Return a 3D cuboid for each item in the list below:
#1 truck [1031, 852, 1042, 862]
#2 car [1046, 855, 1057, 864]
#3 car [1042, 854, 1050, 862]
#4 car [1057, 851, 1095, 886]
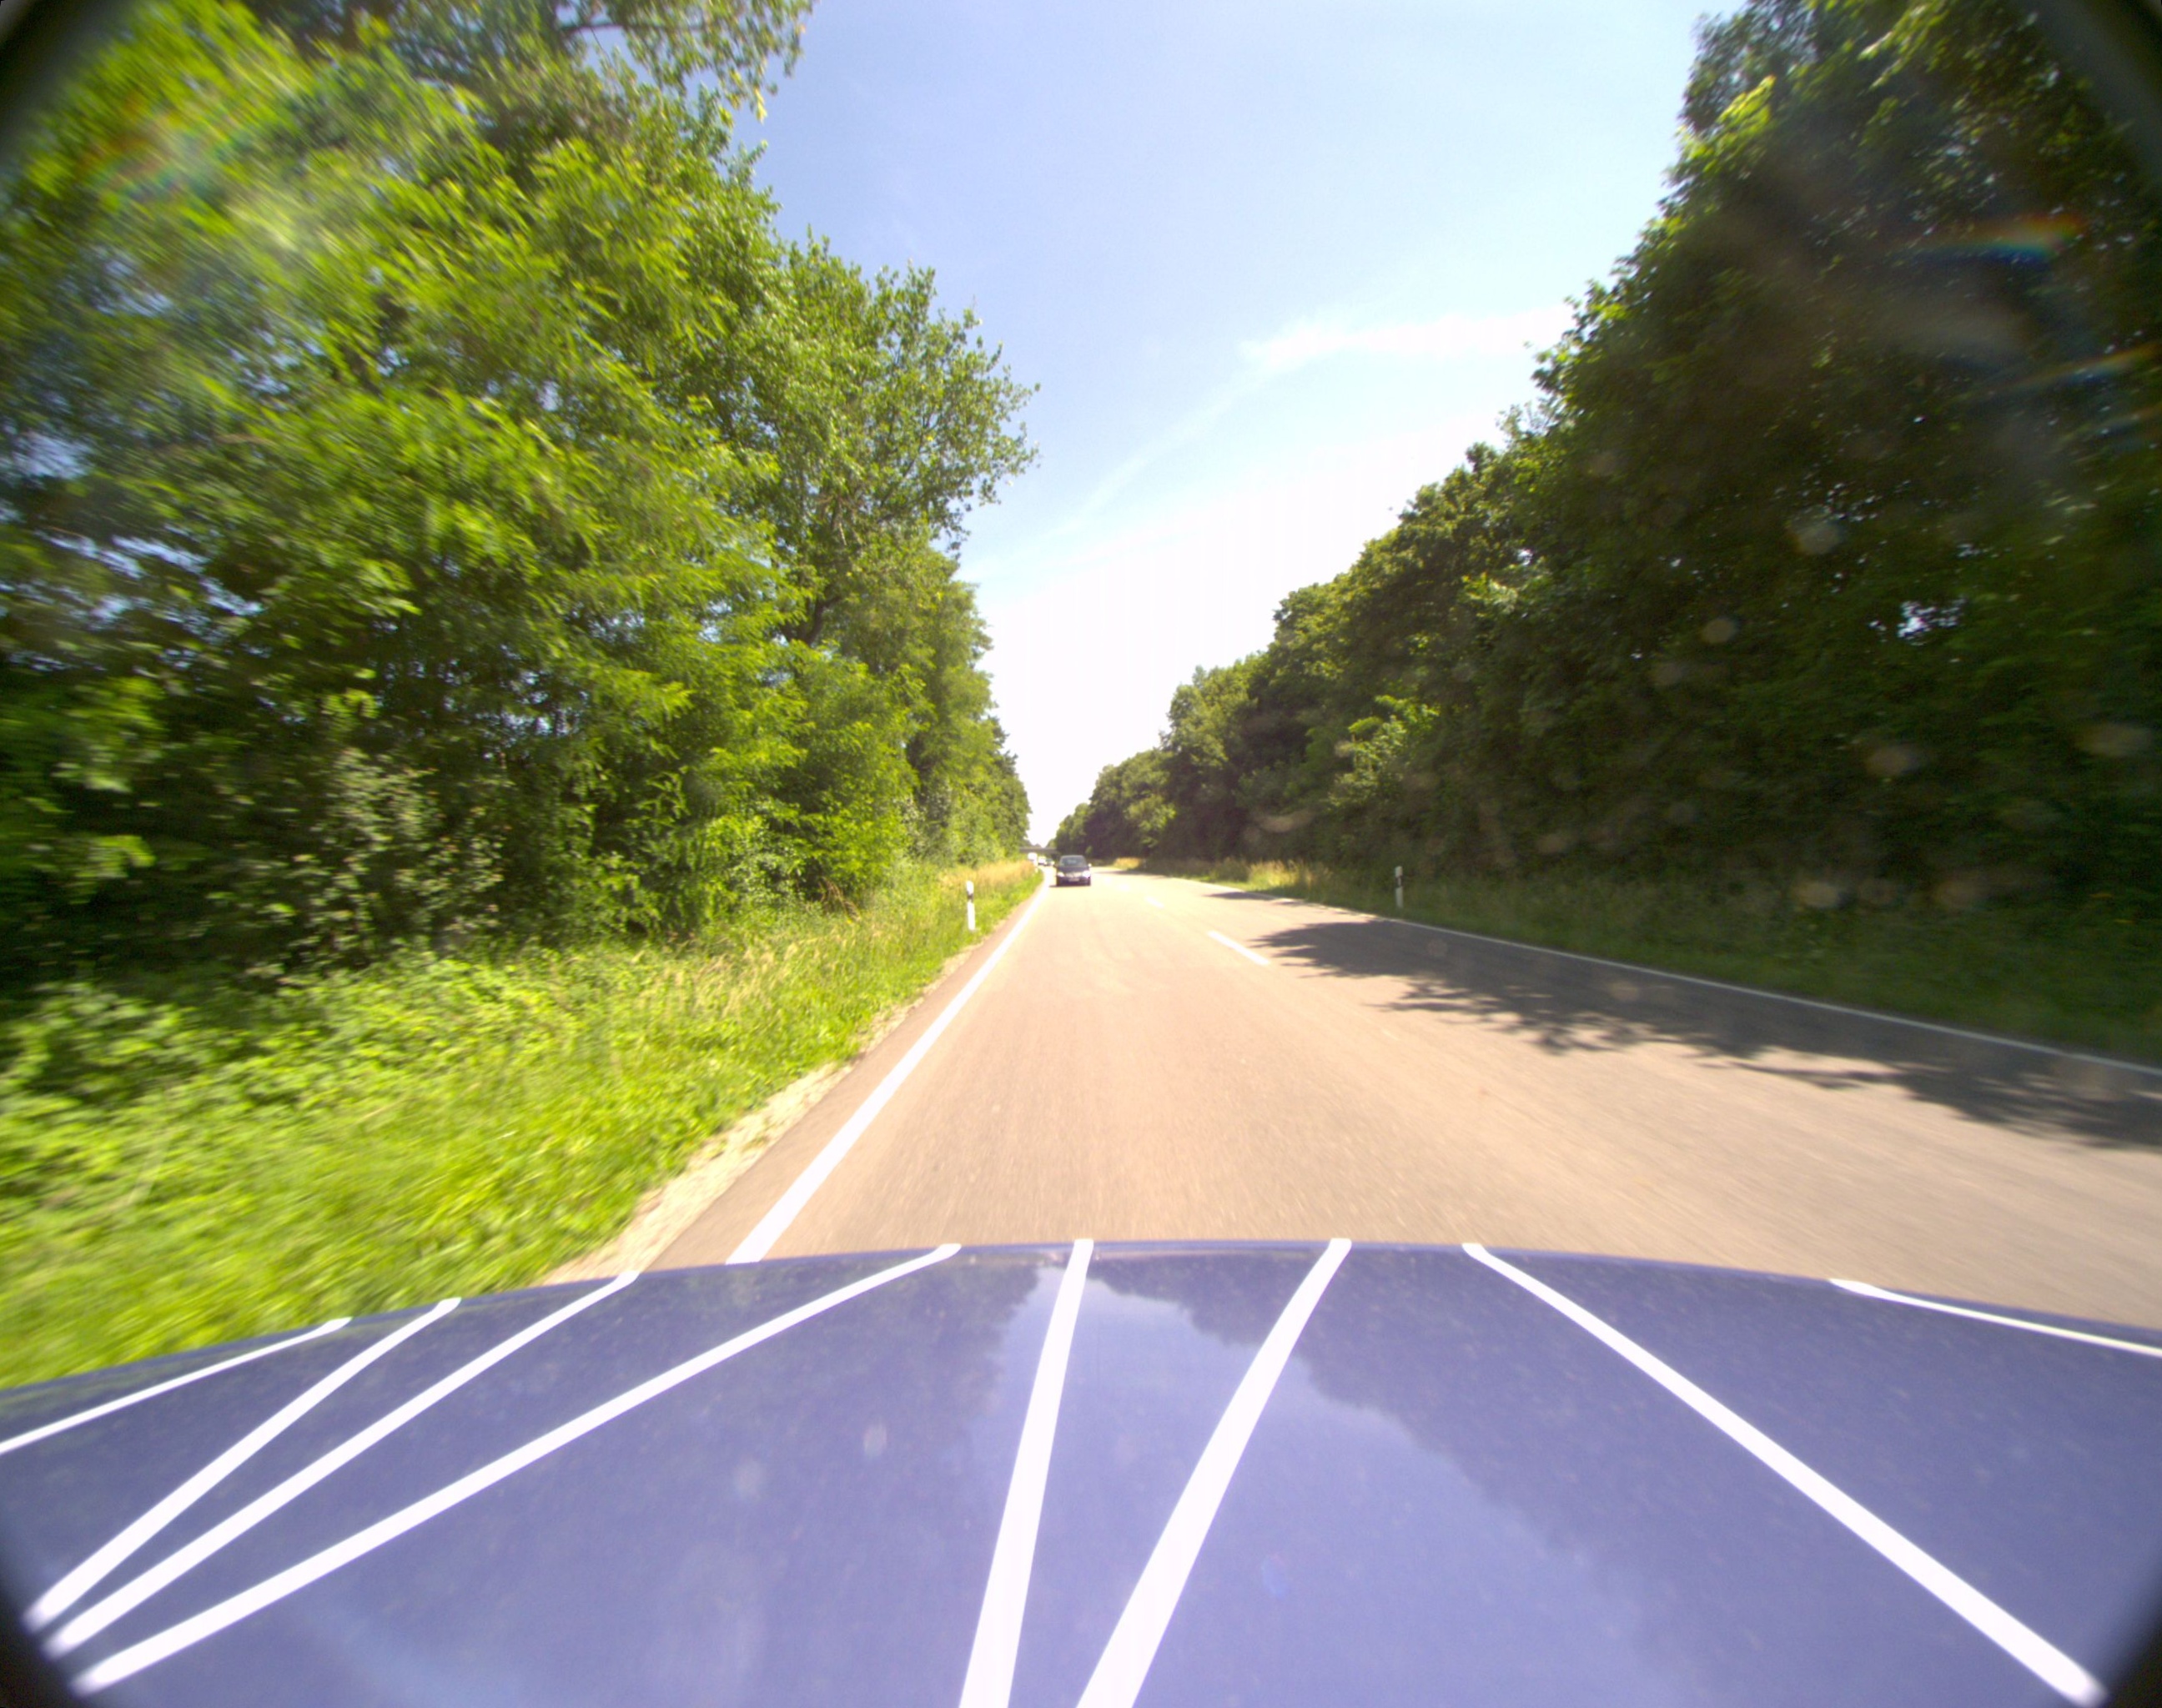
[{"bbox_3d":[-13.967,0.959,236.667,2.579,3.111,11.192,-2,0,-8],"label":"truck"},{"bbox_3d":[-5.212,0.914,132.881,1.710,1.524,4.777,-2,0,-4],"label":"car"},{"bbox_3d":[-7.775,0.899,168.229,1.710,1.524,4.776,-2,0,-5],"label":"car"},{"bbox_3d":[-0.332,0.780,40.415,1.784,1.675,4.778,-1,-1,-3],"label":"car"}]
